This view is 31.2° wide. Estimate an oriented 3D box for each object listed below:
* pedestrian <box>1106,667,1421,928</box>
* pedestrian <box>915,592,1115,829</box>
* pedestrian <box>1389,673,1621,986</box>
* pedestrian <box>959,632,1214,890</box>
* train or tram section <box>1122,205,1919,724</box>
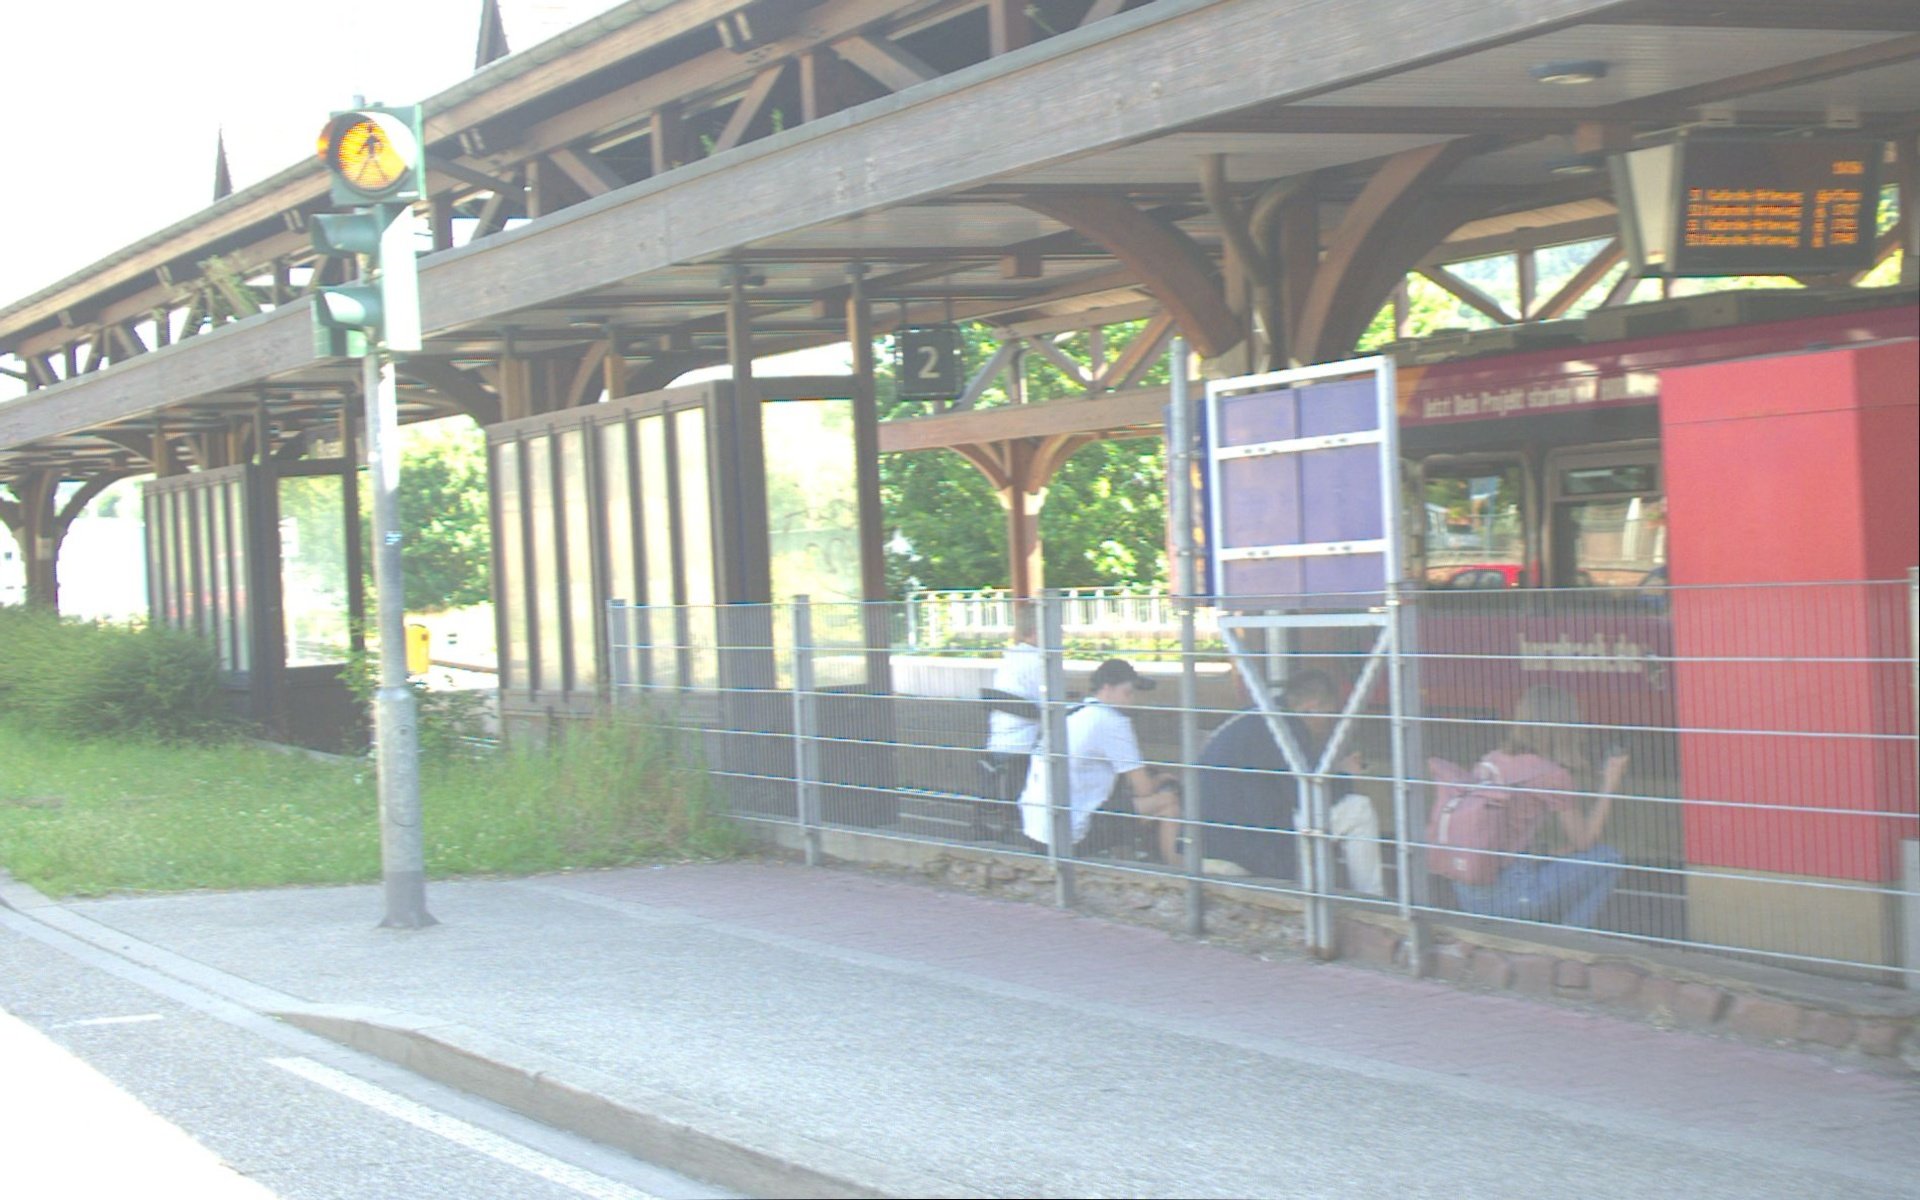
[{"bbox_3d":[1.110,0.705,12.651,0.844,0.871,0.808,0,2,-28],"label":"pedestrian"},{"bbox_3d":[0.265,0.525,16.832,0.742,1.112,0.667,0,1,-28],"label":"pedestrian"},{"bbox_3d":[1.770,0.732,11.171,0.617,0.962,0.407,0,1,-28],"label":"pedestrian"},{"bbox_3d":[0.508,0.638,13.999,0.742,0.979,0.769,0,2,-28],"label":"pedestrian"},{"bbox_3d":[5.284,-0.959,27.568,2.755,3.352,12.051,0,1,-24],"label":"train or tram section"}]
